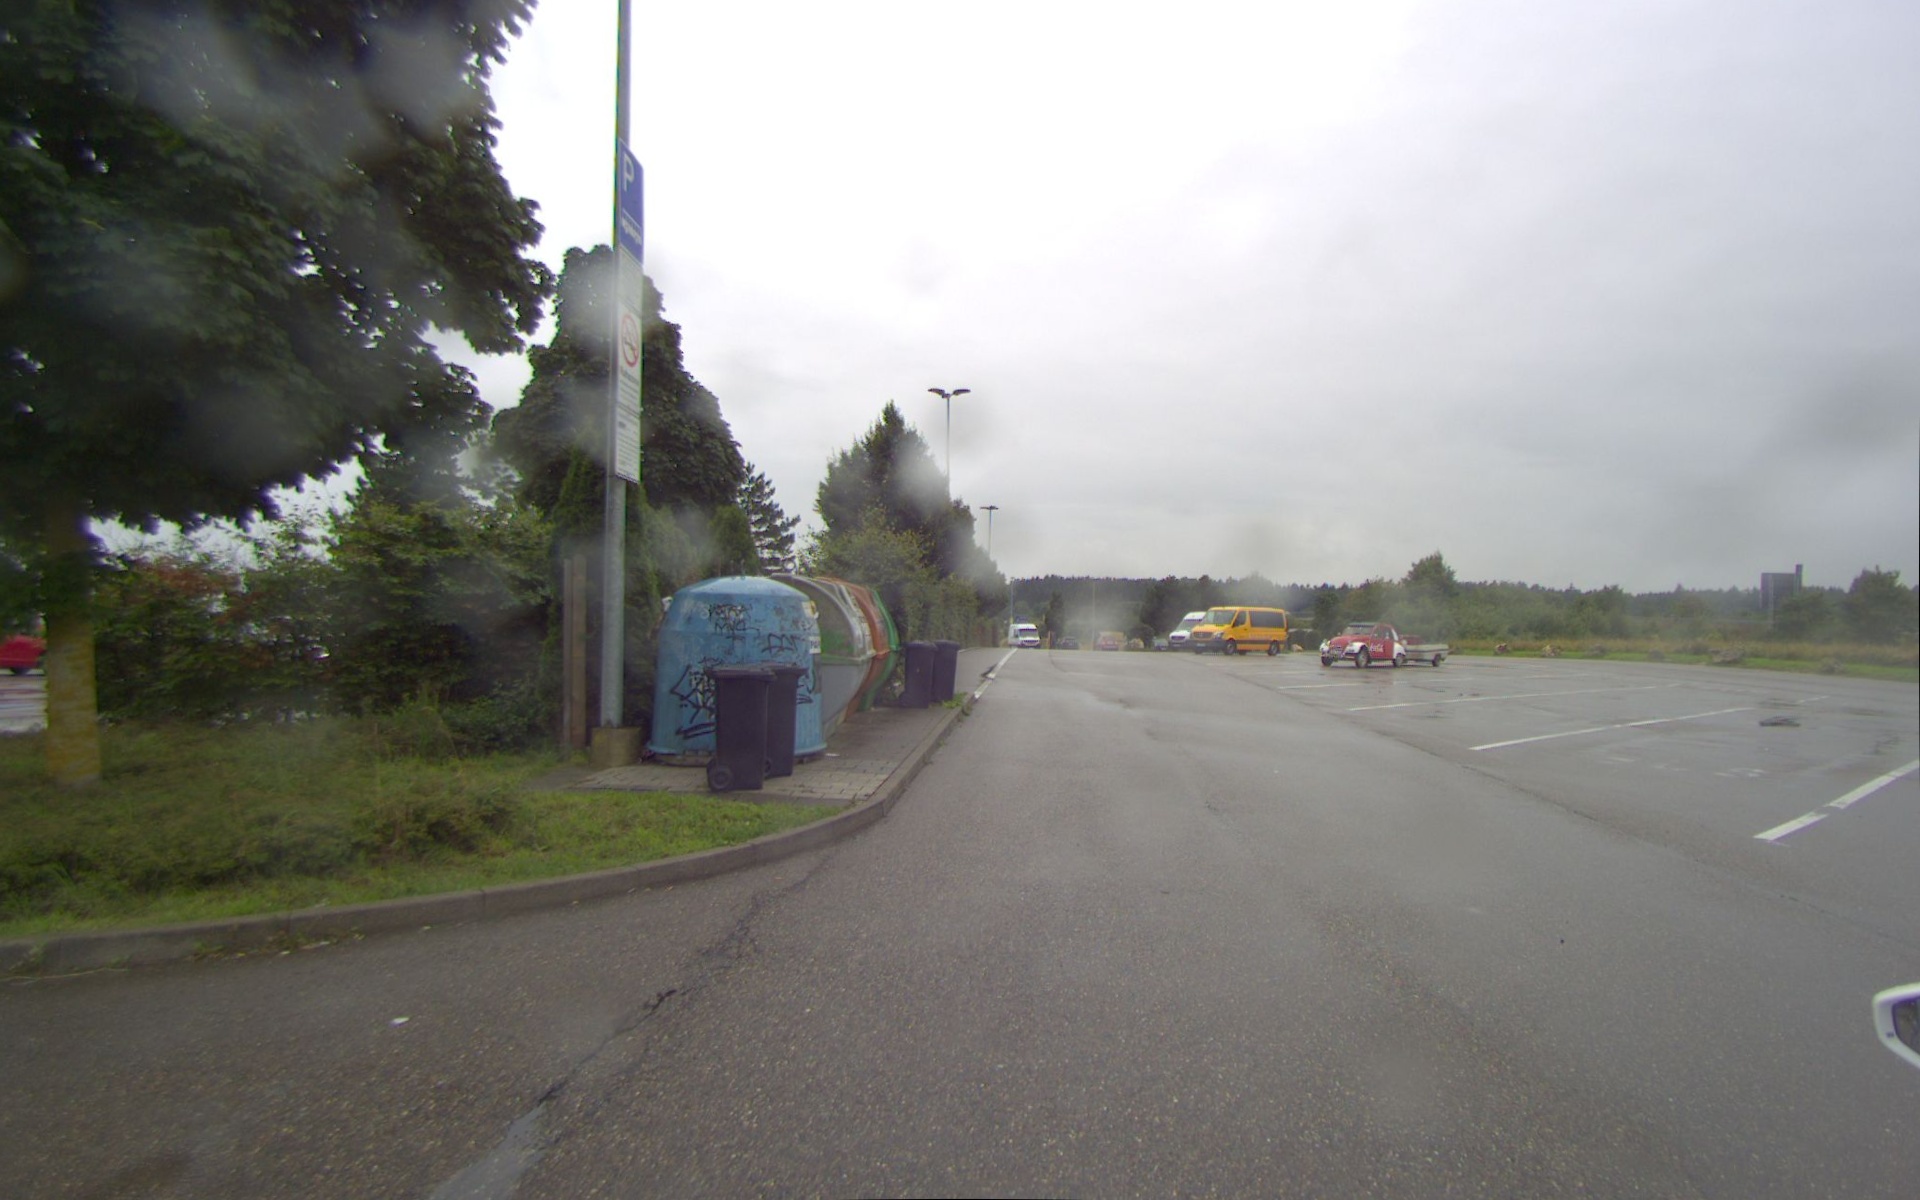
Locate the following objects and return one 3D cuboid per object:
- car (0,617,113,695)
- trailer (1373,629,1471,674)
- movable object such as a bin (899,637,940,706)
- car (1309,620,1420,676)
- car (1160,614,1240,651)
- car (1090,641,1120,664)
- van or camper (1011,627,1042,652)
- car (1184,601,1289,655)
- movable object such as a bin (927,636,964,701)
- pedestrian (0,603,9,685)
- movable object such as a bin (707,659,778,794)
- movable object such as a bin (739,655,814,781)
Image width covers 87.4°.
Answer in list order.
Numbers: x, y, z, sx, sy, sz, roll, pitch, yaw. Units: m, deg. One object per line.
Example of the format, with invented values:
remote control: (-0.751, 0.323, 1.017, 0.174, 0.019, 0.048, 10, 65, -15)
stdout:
car: (-23.631, 1.353, 24.825, 3.942, 1.816, 1.852, 0, 0, 4)
trailer: (16.984, 1.860, 36.893, 3.965, 1.553, 1.682, 2, -2, -39)
movable object such as a bin: (-0.564, 1.004, 14.168, 0.498, 0.935, 0.439, 0, 0, 9)
car: (13.887, 1.634, 34.407, 3.965, 1.800, 1.808, 2, -2, -38)
car: (15.227, 2.052, 63.668, 4.708, 2.231, 1.988, 2, 0, -25)
car: (13.230, 4.774, 91.847, 1.656, 2.040, 3.995, 0, -2, -8)
van or camper: (6.009, 3.581, 90.608, 1.963, 2.195, 3.995, 1, -2, -8)
car: (13.313, 1.404, 48.162, 5.981, 2.411, 1.976, 3, -4, -42)
movable object such as a bin: (-0.210, 1.004, 14.888, 0.498, 0.928, 0.439, 0, 0, 6)
pedestrian: (-19.851, 0.892, 20.428, 0.706, 1.660, 0.643, -3, -3, 41)
movable object such as a bin: (-1.652, 0.941, 7.597, 0.465, 0.961, 0.433, 1, 0, -18)
movable object such as a bin: (-1.496, 0.944, 8.196, 0.447, 0.961, 0.400, 1, 0, -42)
